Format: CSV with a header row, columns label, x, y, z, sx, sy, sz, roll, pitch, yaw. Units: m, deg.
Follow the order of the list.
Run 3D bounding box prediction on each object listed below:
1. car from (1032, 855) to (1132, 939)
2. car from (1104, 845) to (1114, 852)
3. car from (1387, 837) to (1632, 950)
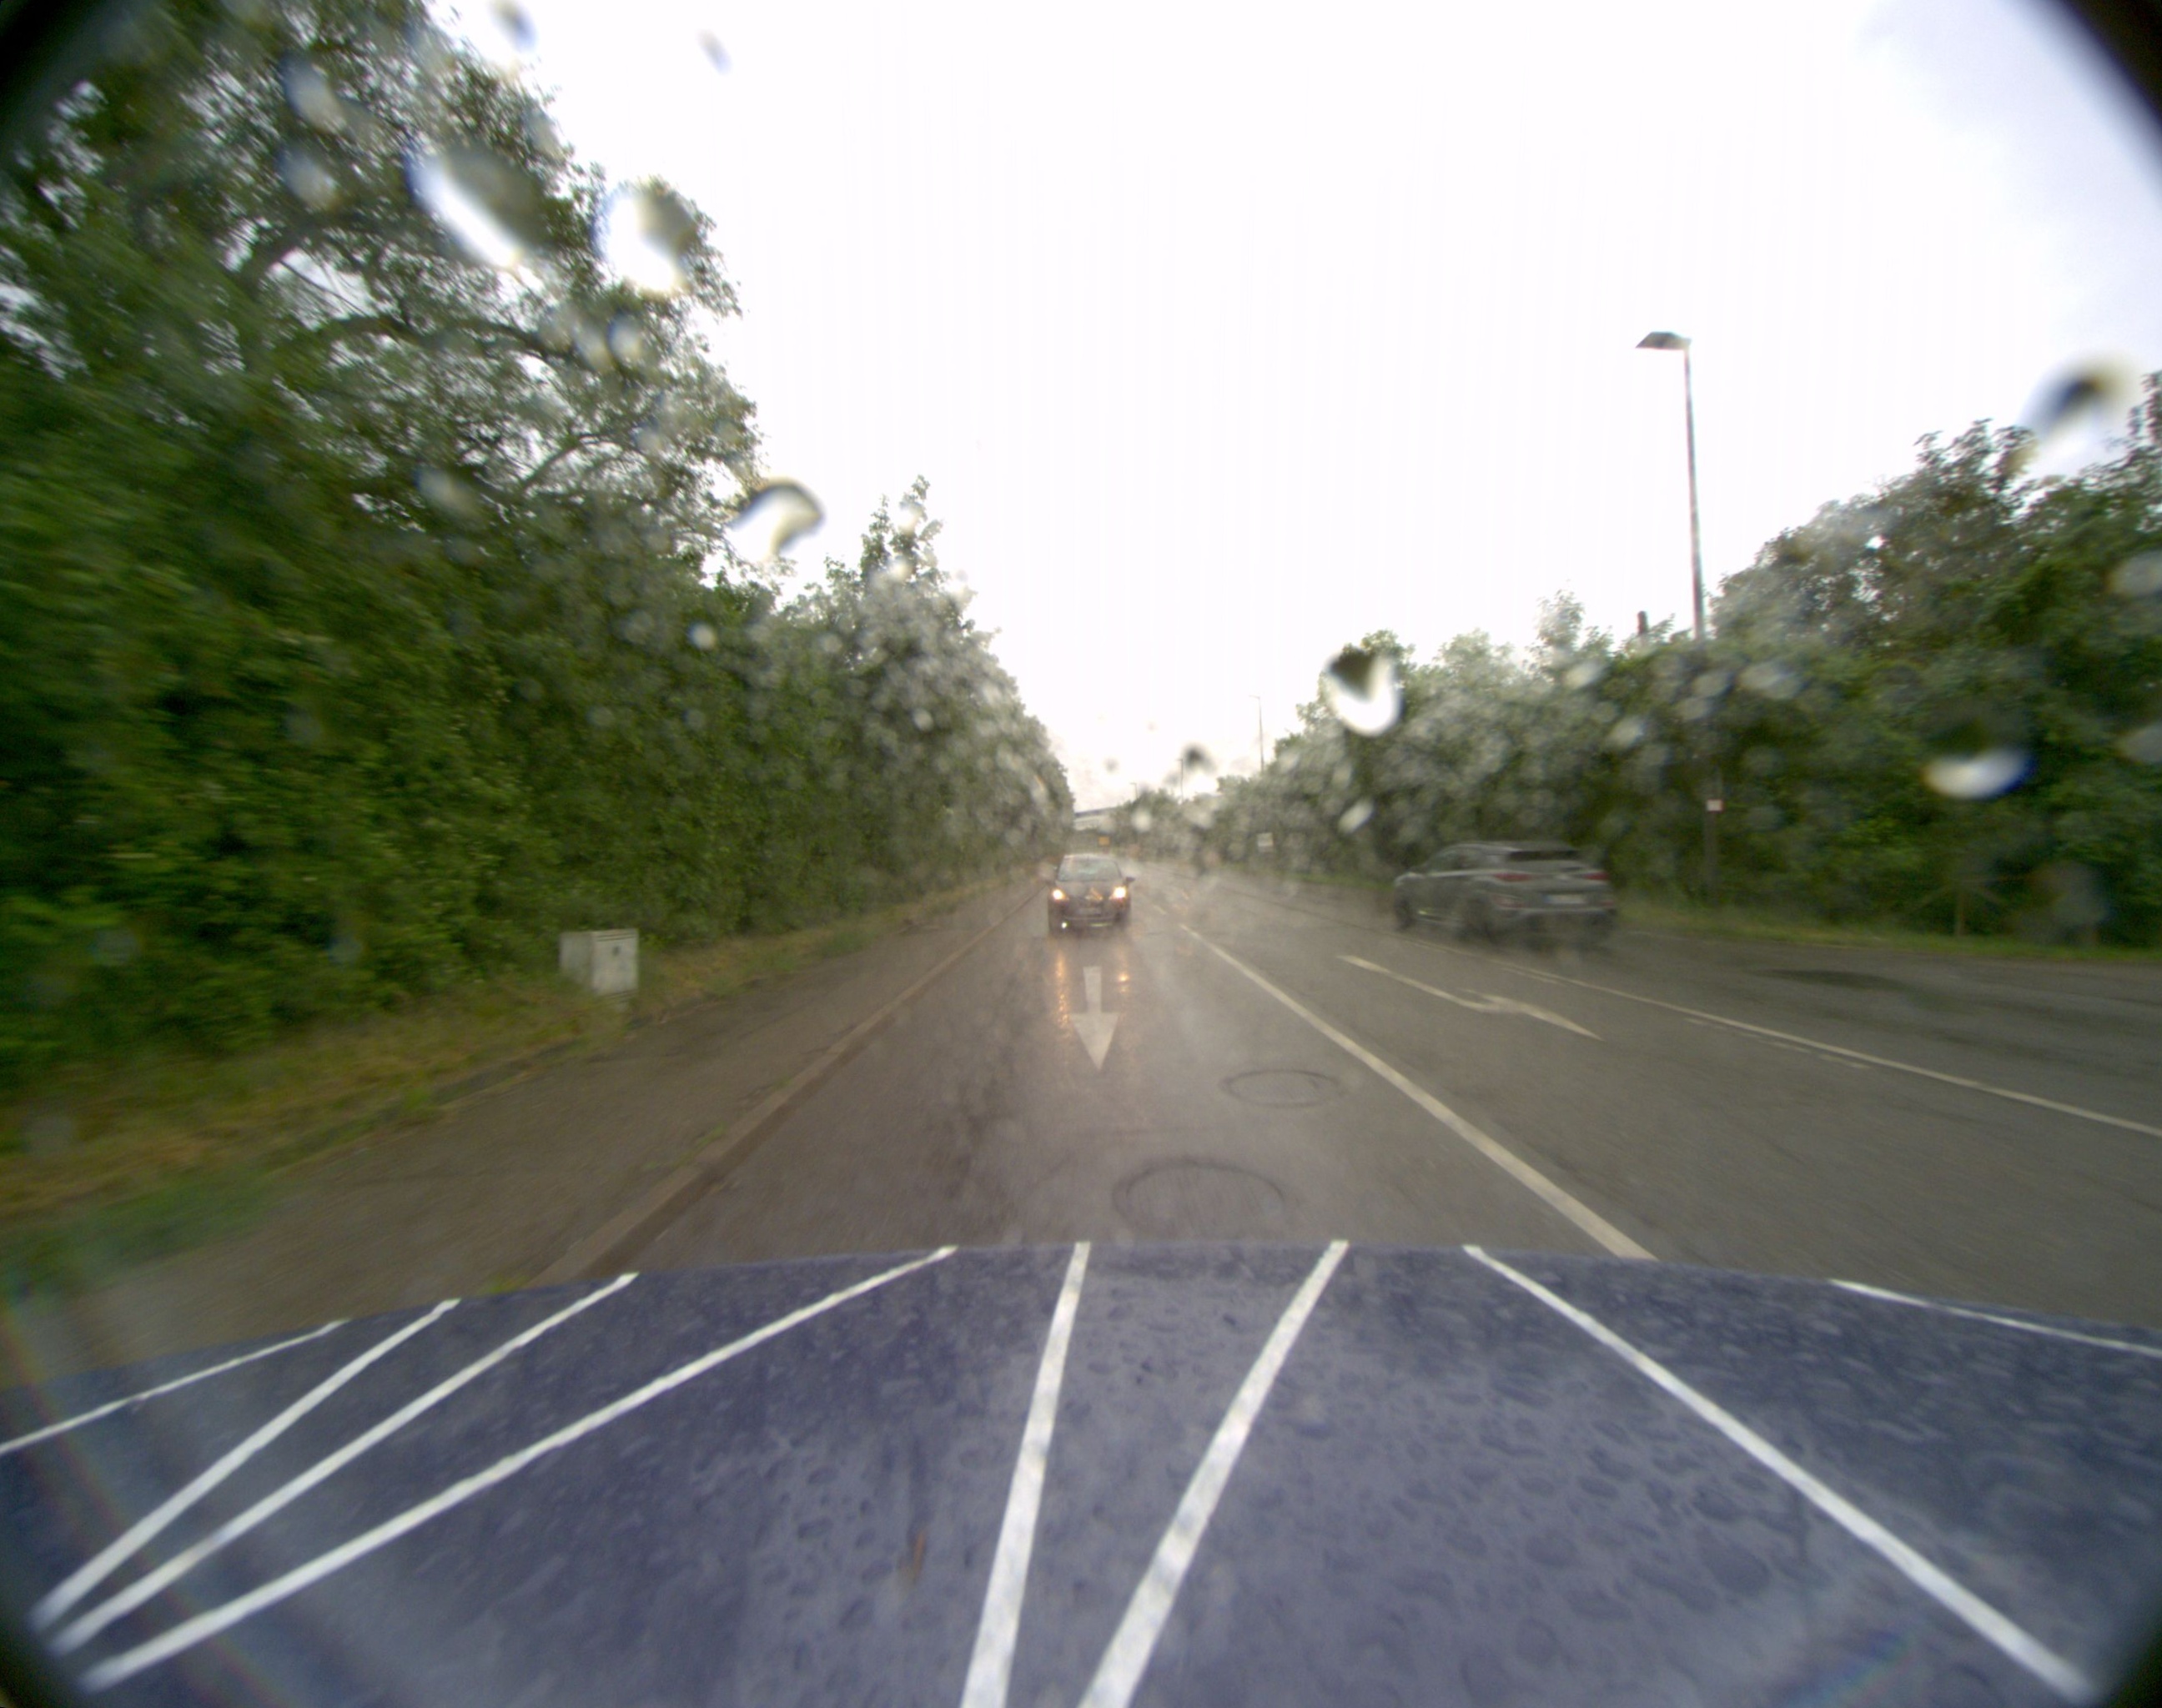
label,x,y,z,sx,sy,sz,roll,pitch,yaw
car,0.046,0.820,16.483,1.839,1.404,4.341,-2,2,1
car,6.524,-1.355,176.680,1.998,1.576,3.999,-2,2,1
car,6.531,0.518,12.146,1.643,1.461,4.000,-2,0,0
